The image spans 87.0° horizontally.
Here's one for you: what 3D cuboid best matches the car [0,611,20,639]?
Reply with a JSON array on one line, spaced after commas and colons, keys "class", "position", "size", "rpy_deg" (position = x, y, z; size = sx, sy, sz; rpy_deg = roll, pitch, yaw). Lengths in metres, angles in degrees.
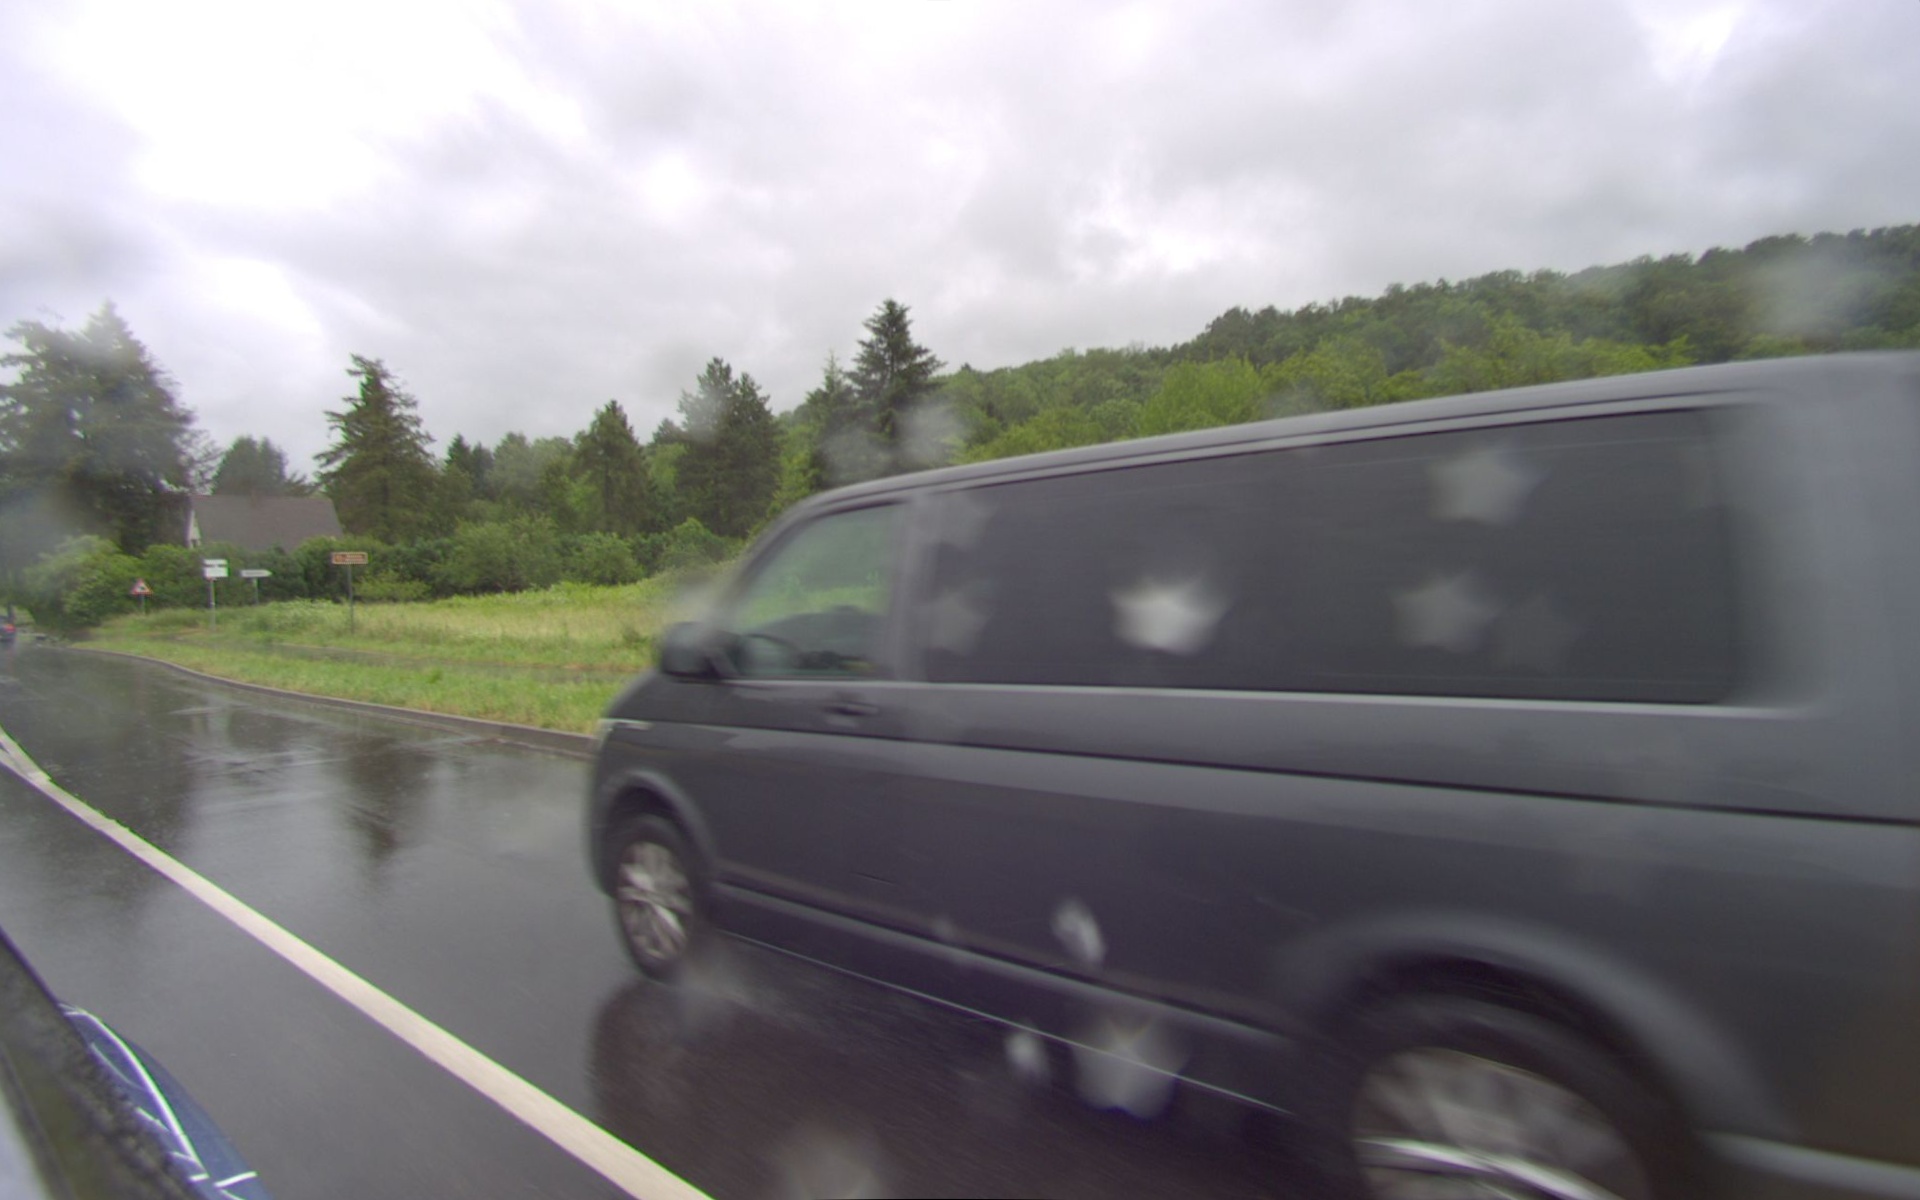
[{"class": "car", "position": [-44.701, 1.163, 46.704], "size": [3.998, 1.253, 1.520], "rpy_deg": [-1, 0, 41]}]
